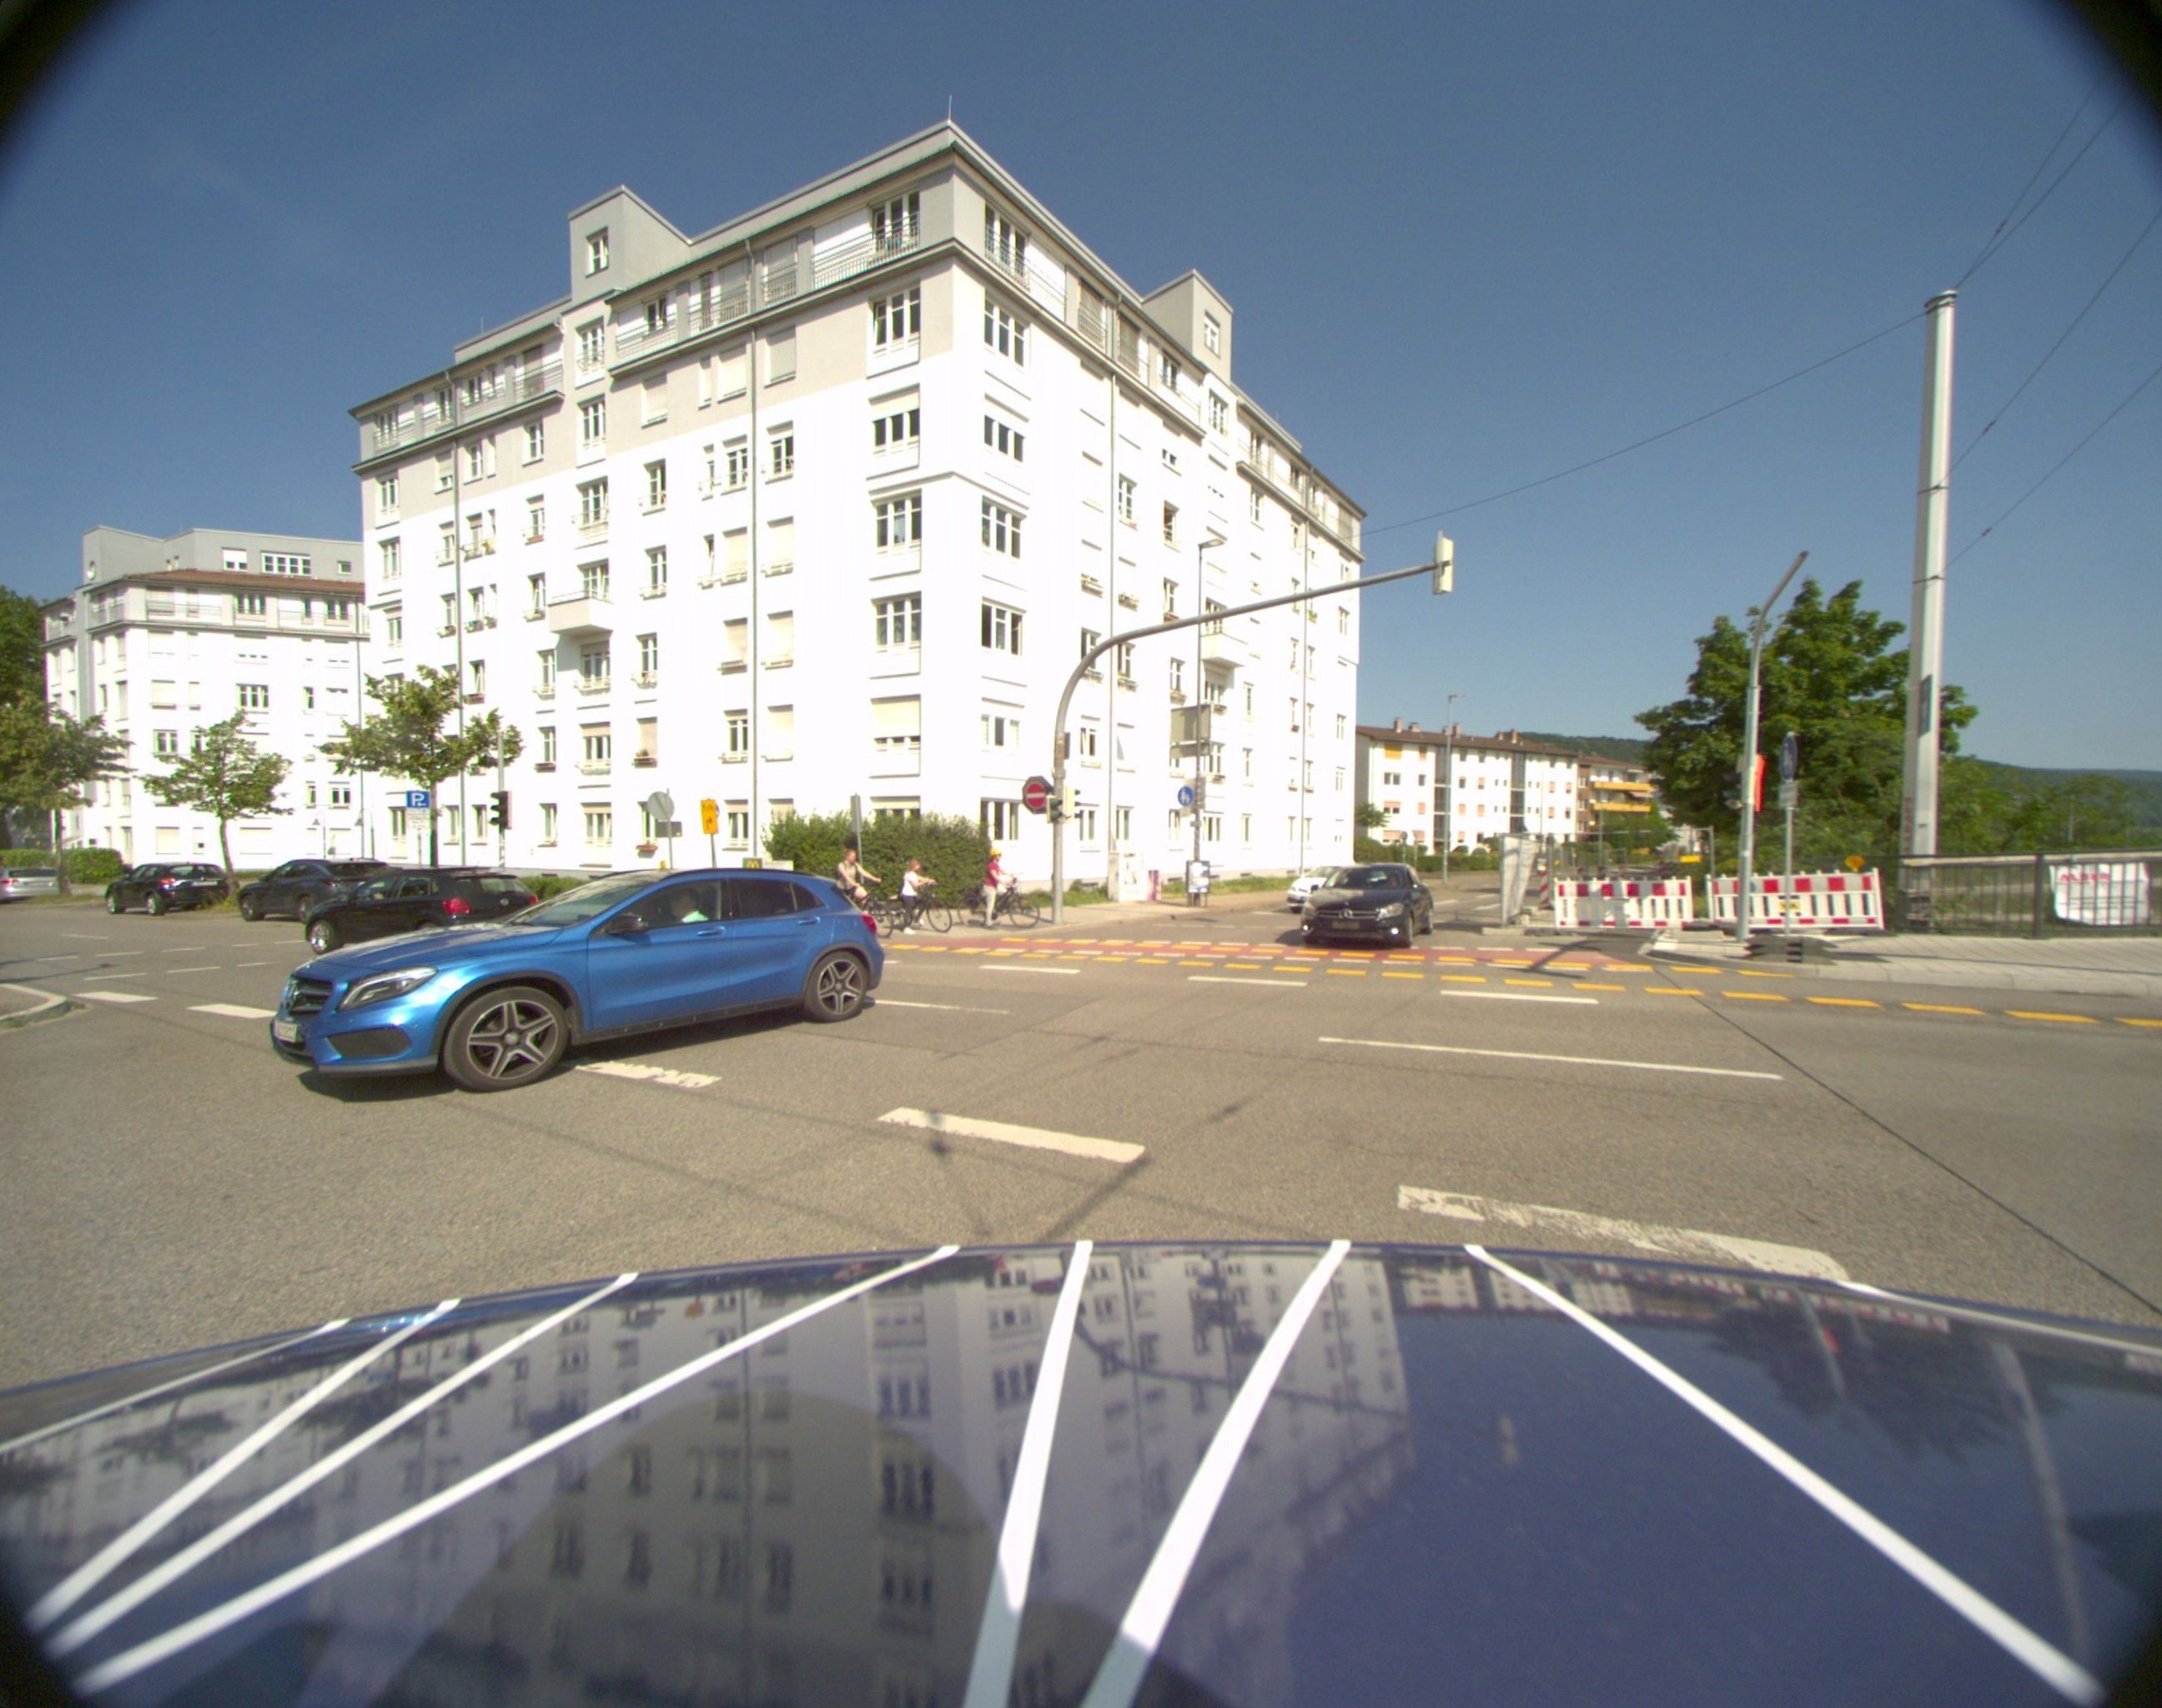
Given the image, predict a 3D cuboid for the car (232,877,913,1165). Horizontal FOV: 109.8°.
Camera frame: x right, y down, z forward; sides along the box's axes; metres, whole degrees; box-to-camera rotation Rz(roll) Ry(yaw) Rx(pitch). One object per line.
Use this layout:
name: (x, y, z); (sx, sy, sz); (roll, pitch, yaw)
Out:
car: (-3.725, 0.986, 6.528); (1.671, 1.472, 4.560); (-1, 0, 34)

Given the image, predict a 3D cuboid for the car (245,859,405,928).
car: (-19.845, 0.967, 19.948); (3.731, 1.628, 1.743); (0, 2, 25)

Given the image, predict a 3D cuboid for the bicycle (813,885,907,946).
bicycle: (-4.456, 1.220, 15.345); (1.782, 1.093, 0.619); (1, 2, 19)

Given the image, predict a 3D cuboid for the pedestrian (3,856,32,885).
pedestrian: (-60.601, 0.923, 43.309); (0.907, 1.656, 0.860); (0, 1, 30)

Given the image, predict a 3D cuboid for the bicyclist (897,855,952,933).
bicyclist: (-3.278, 0.819, 15.944); (0.916, 1.570, 0.624); (0, 3, 15)

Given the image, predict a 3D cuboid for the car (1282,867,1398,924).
car: (7.573, 1.115, 21.946); (1.697, 1.404, 4.496); (0, 0, 39)

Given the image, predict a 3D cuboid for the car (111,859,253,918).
car: (-27.679, 1.006, 23.406); (3.731, 1.628, 1.743); (0, 2, 23)

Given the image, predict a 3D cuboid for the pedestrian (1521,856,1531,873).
pedestrian: (39.901, 0.943, 68.081); (0.606, 1.500, 0.772); (1, 2, 43)

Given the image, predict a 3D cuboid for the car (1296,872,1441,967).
car: (5.528, 1.080, 14.229); (1.699, 1.400, 4.632); (-1, 0, 31)

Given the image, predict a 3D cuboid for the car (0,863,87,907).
car: (-39.370, 1.114, 28.465); (3.731, 1.476, 1.743); (0, 2, 25)

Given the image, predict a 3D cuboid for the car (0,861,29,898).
car: (-46.539, 1.072, 32.078); (3.731, 1.476, 1.743); (0, 2, 25)

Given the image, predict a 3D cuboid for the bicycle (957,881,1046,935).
bicycle: (-1.717, 1.148, 16.425); (1.811, 1.093, 0.605); (0, 2, 14)

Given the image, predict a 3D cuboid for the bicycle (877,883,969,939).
bicycle: (-3.318, 1.179, 15.969); (1.783, 1.093, 0.629); (0, 2, 15)

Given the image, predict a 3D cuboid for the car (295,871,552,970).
car: (-11.294, 1.065, 13.102); (3.655, 1.484, 1.596); (0, 0, 16)

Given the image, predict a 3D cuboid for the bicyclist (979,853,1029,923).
bicyclist: (-1.658, 0.715, 16.393); (0.916, 1.469, 0.598); (0, 2, 14)

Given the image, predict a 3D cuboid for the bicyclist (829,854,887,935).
bicyclist: (-4.508, 0.799, 15.349); (0.916, 1.581, 0.624); (1, 2, 19)
